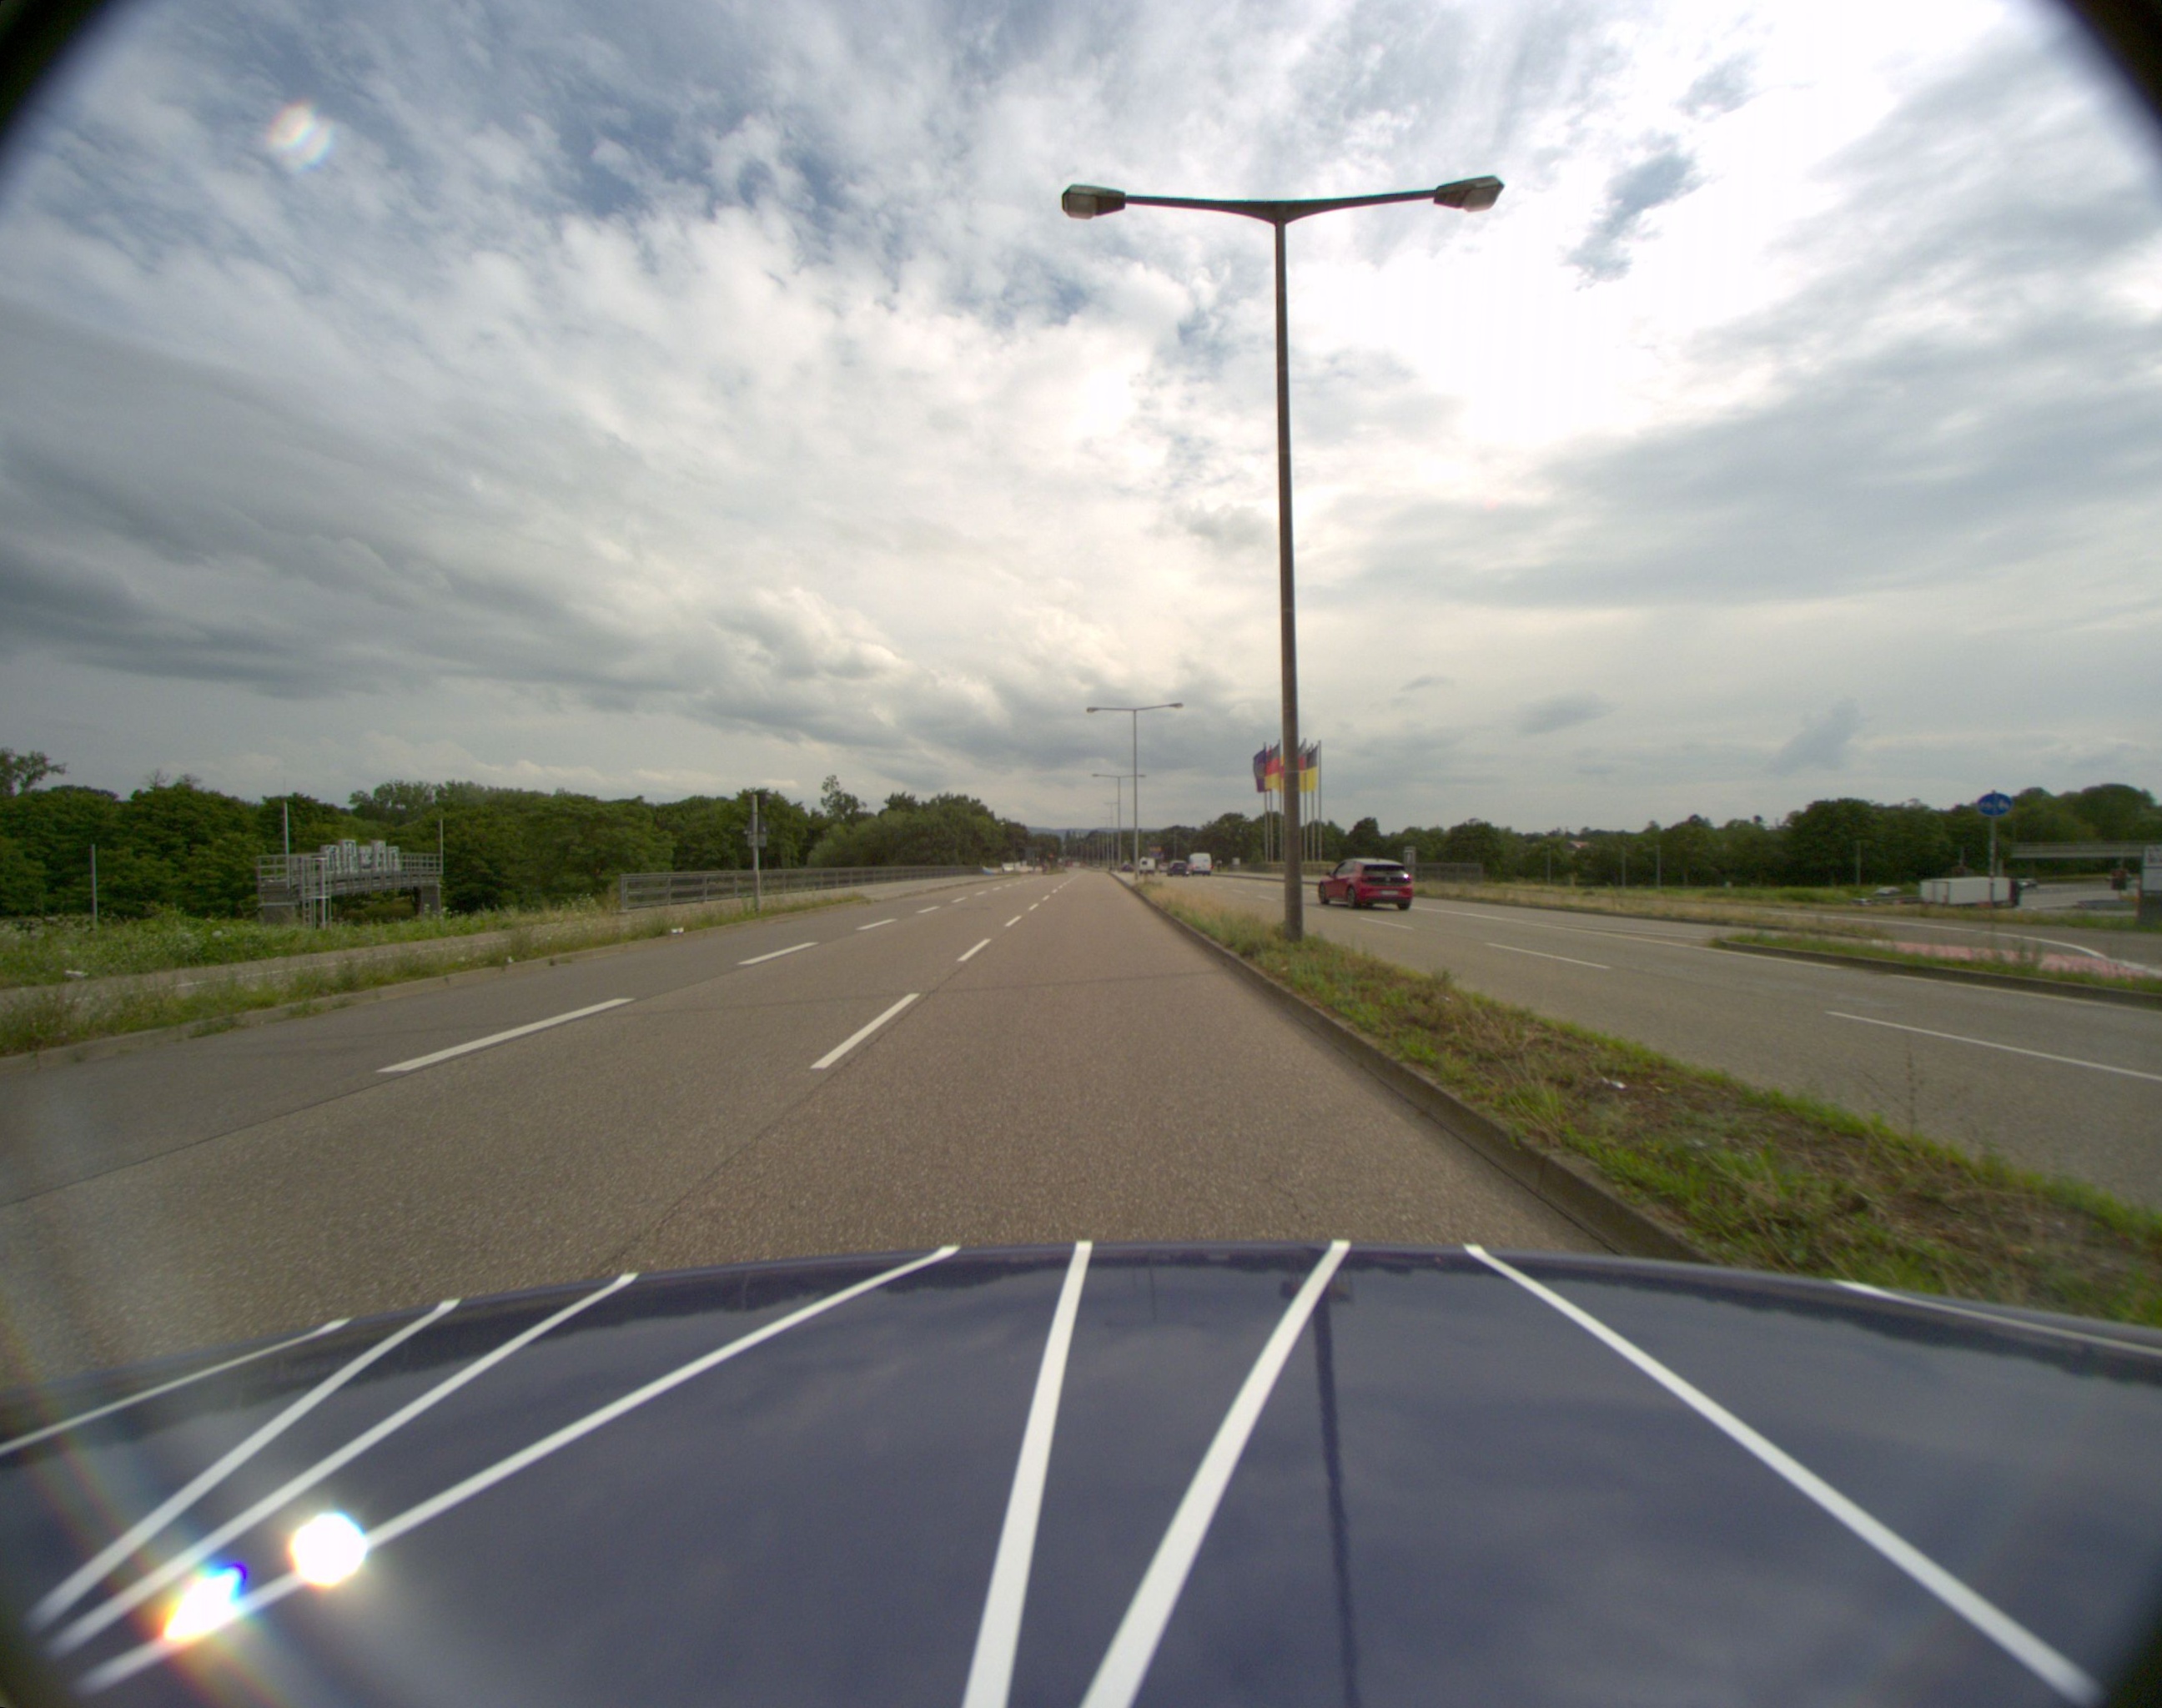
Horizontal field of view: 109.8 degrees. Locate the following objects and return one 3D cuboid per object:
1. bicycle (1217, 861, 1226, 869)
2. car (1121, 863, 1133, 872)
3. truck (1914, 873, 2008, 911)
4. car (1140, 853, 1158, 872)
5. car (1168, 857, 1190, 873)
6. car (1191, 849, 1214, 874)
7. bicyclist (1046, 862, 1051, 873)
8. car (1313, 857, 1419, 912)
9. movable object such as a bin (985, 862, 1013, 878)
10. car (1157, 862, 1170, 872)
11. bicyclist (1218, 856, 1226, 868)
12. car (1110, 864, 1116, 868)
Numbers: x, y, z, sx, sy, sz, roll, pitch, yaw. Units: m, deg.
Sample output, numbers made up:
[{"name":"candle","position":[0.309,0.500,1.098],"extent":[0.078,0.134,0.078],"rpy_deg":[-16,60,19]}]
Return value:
[{"name":"bicycle","position":[18.377,1.480,99.518],"extent":[0.708,1.043,2.059],"rpy_deg":[-1,0,-2]},{"name":"car","position":[7.507,2.144,123.382],"extent":[1.742,1.472,4.776],"rpy_deg":[1,-1,1]},{"name":"truck","position":[113.704,4.832,98.152],"extent":[14.019,4.318,3.025],"rpy_deg":[-1,1,-19]},{"name":"car","position":[6.867,0.838,76.653],"extent":[1.543,1.860,3.571],"rpy_deg":[1,0,2]},{"name":"car","position":[9.973,1.136,77.311],"extent":[1.751,1.576,4.587],"rpy_deg":[1,-1,2]},{"name":"car","position":[13.680,0.843,85.828],"extent":[2.057,2.627,6.403],"rpy_deg":[1,0,5]},{"name":"bicyclist","position":[-4.974,2.017,117.203],"extent":[0.653,1.648,0.876],"rpy_deg":[-2,0,-2]},{"name":"car","position":[8.963,0.894,24.325],"extent":[1.655,1.565,4.338],"rpy_deg":[2,0,-1]},{"name":"movable object such as a bin","position":[-14.516,2.790,134.078],"extent":[4.511,2.673,2.102],"rpy_deg":[-2,0,5]},{"name":"car","position":[14.592,2.239,134.478],"extent":[1.867,1.715,4.771],"rpy_deg":[1,0,2]},{"name":"bicyclist","position":[18.392,1.067,99.423],"extent":[0.797,1.617,0.976],"rpy_deg":[-2,0,-2]},{"name":"car","position":[10.361,3.907,246.668],"extent":[1.768,1.432,4.178],"rpy_deg":[1,-1,1]}]
